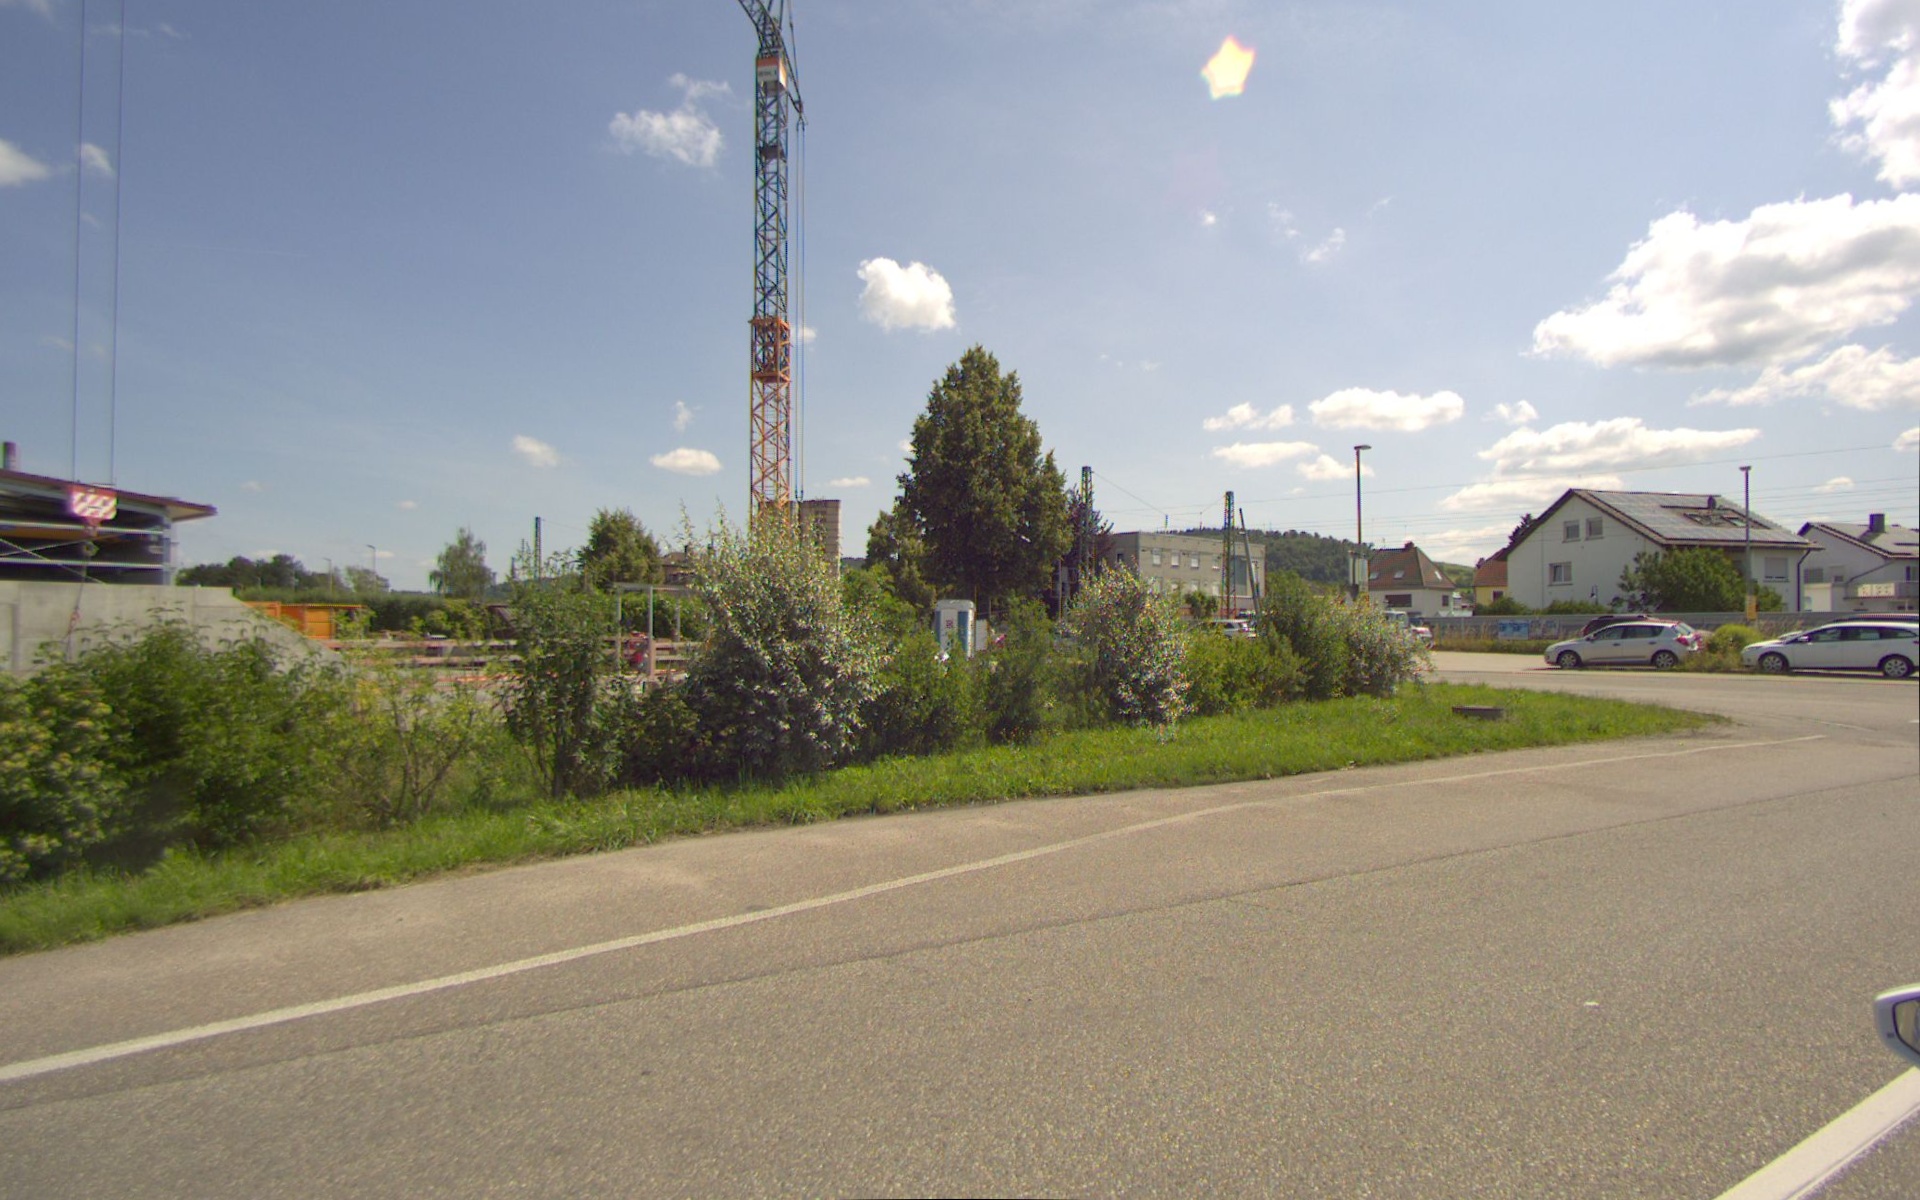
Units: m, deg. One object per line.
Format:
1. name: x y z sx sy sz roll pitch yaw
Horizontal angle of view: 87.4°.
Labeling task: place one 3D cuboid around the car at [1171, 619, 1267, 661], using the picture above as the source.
1. car: 12.265 1.867 47.676 3.947 1.916 1.987 -2 -2 45

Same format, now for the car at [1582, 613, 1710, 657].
1. car: 25.940 1.310 38.061 1.487 1.610 3.793 1 -2 -44

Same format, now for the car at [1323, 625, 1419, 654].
1. car: 18.167 1.737 44.494 1.659 1.238 3.631 1 -2 -39

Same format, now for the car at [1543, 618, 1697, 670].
1. car: 21.519 1.394 32.837 3.957 1.582 1.812 -1 -2 43

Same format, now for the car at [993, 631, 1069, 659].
1. car: 3.771 2.382 53.809 1.813 1.477 3.954 1 -2 -40

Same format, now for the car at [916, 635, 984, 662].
1. car: -0.623 2.833 59.557 1.877 1.522 3.951 1 -2 -42

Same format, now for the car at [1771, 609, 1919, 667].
1. car: 28.611 1.155 31.677 1.982 1.713 4.418 -1 0 -38

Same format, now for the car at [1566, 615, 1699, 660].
1. car: 24.502 1.353 36.674 1.682 1.579 3.748 1 -2 -42

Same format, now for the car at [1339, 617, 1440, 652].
1. car: 19.652 1.572 46.108 1.669 1.439 3.956 2 0 -38

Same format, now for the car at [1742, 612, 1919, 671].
1. car: 25.123 1.145 28.579 1.813 1.496 4.245 2 0 -41

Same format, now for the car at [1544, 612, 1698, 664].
1. car: 22.721 1.326 34.601 4.118 1.660 1.943 -4 -4 44

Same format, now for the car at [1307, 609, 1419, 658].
1. car: 16.864 1.370 42.175 1.890 1.840 3.952 0 1 -41
